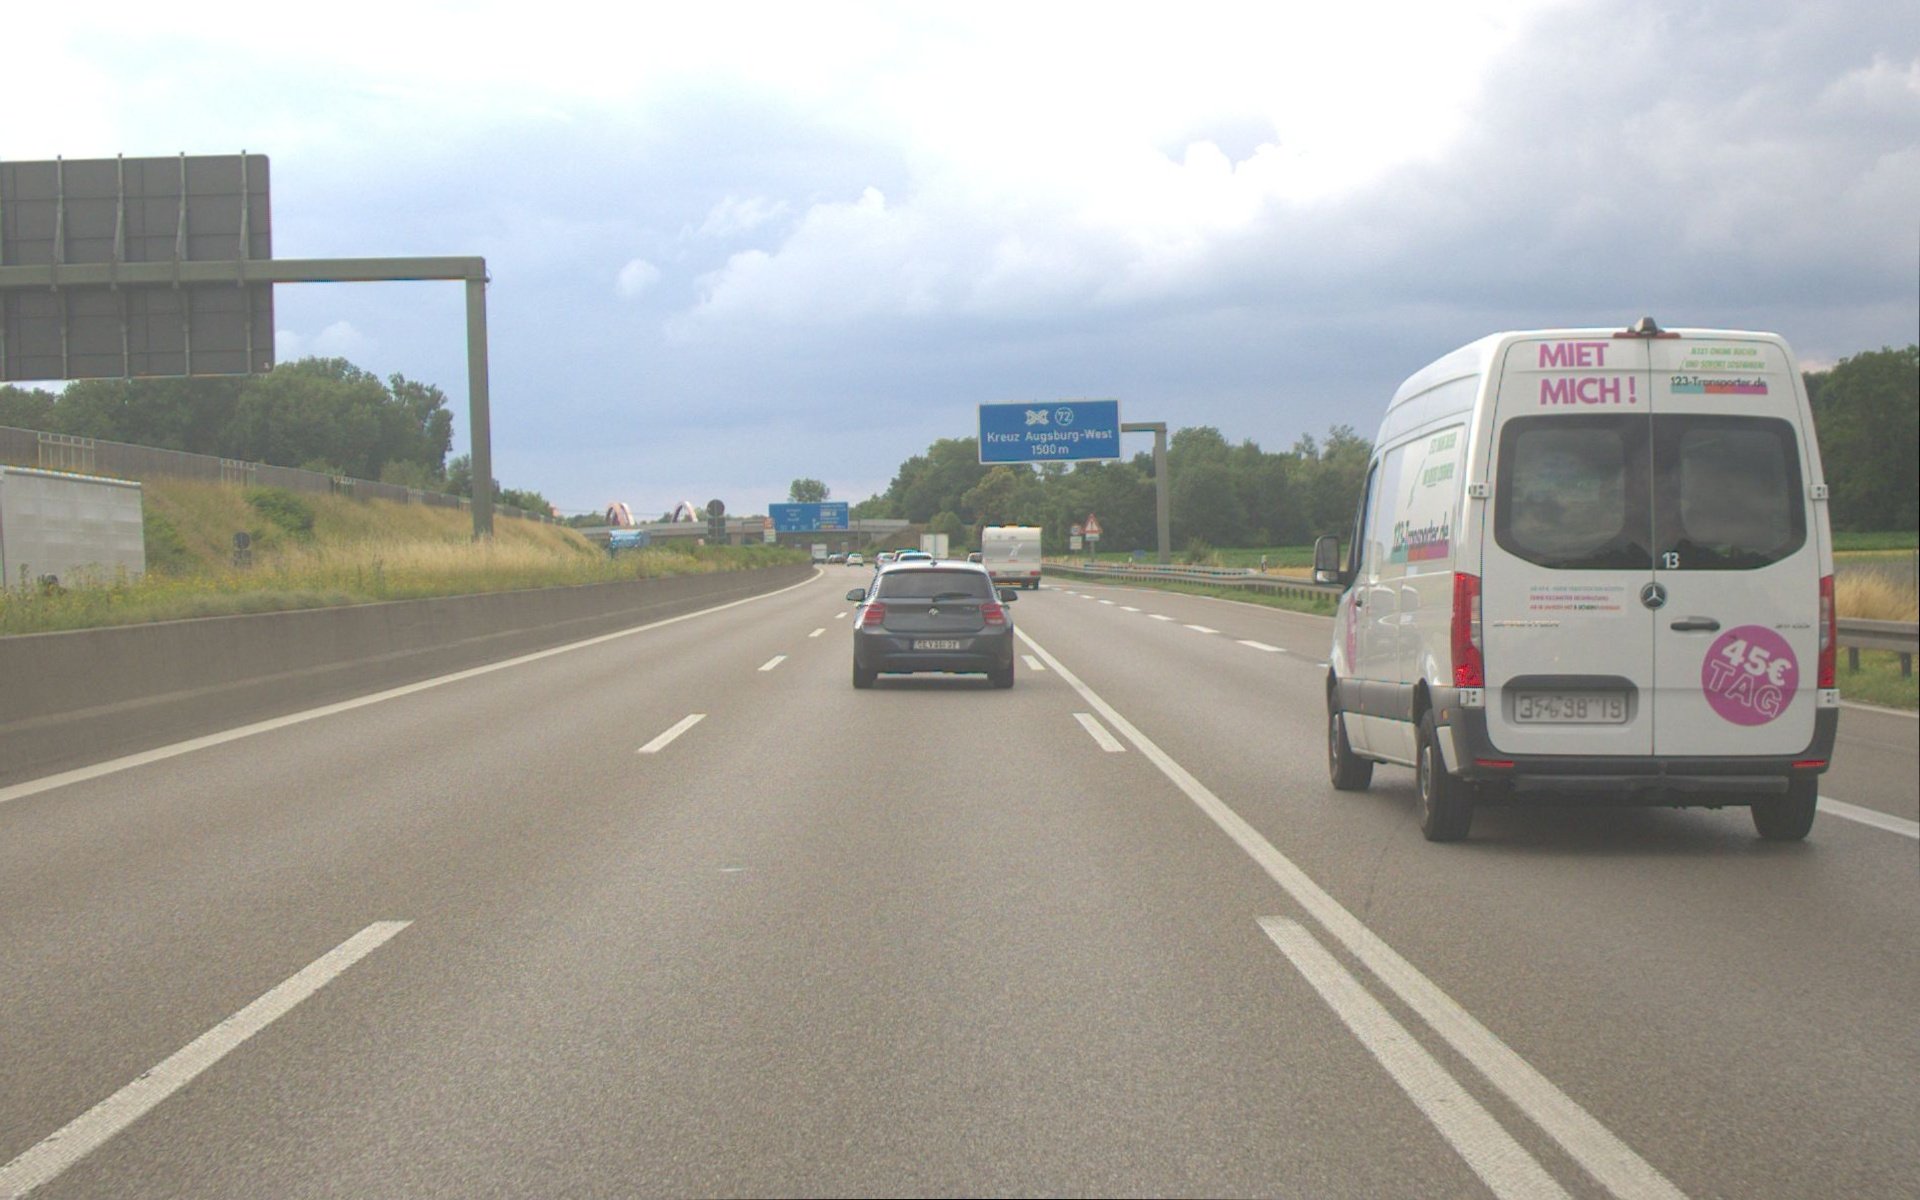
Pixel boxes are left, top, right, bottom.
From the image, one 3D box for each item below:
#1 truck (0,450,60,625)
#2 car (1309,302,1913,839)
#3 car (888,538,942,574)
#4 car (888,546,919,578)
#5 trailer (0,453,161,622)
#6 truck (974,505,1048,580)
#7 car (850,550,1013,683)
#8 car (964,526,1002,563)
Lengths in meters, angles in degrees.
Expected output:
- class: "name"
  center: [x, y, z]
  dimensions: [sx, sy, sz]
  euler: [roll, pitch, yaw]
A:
- class: "truck"
  center: [-21.522, -1.301, 73.117]
  dimensions: [2.726, 3.665, 7.490]
  euler: [-2, 1, 0]
- class: "car"
  center: [3.435, -0.205, 19.582]
  dimensions: [2.221, 2.559, 6.256]
  euler: [0, 1, 0]
- class: "car"
  center: [-1.707, -1.671, 131.001]
  dimensions: [1.993, 1.293, 4.000]
  euler: [-2, 1, -1]
- class: "car"
  center: [-3.677, -2.459, 223.991]
  dimensions: [1.993, 2.007, 4.000]
  euler: [-1, 1, -1]
- class: "trailer"
  center: [-21.601, -1.443, 80.696]
  dimensions: [2.777, 3.665, 12.265]
  euler: [-2, 1, 0]
- class: "truck"
  center: [2.042, -2.381, 142.689]
  dimensions: [2.710, 2.954, 12.448]
  euler: [1, 1, -1]
- class: "car"
  center: [-0.318, 0.143, 38.787]
  dimensions: [1.743, 1.384, 4.000]
  euler: [0, 1, 0]
- class: "car"
  center: [1.256, -3.111, 191.729]
  dimensions: [1.993, 2.007, 4.000]
  euler: [-1, 1, -1]
